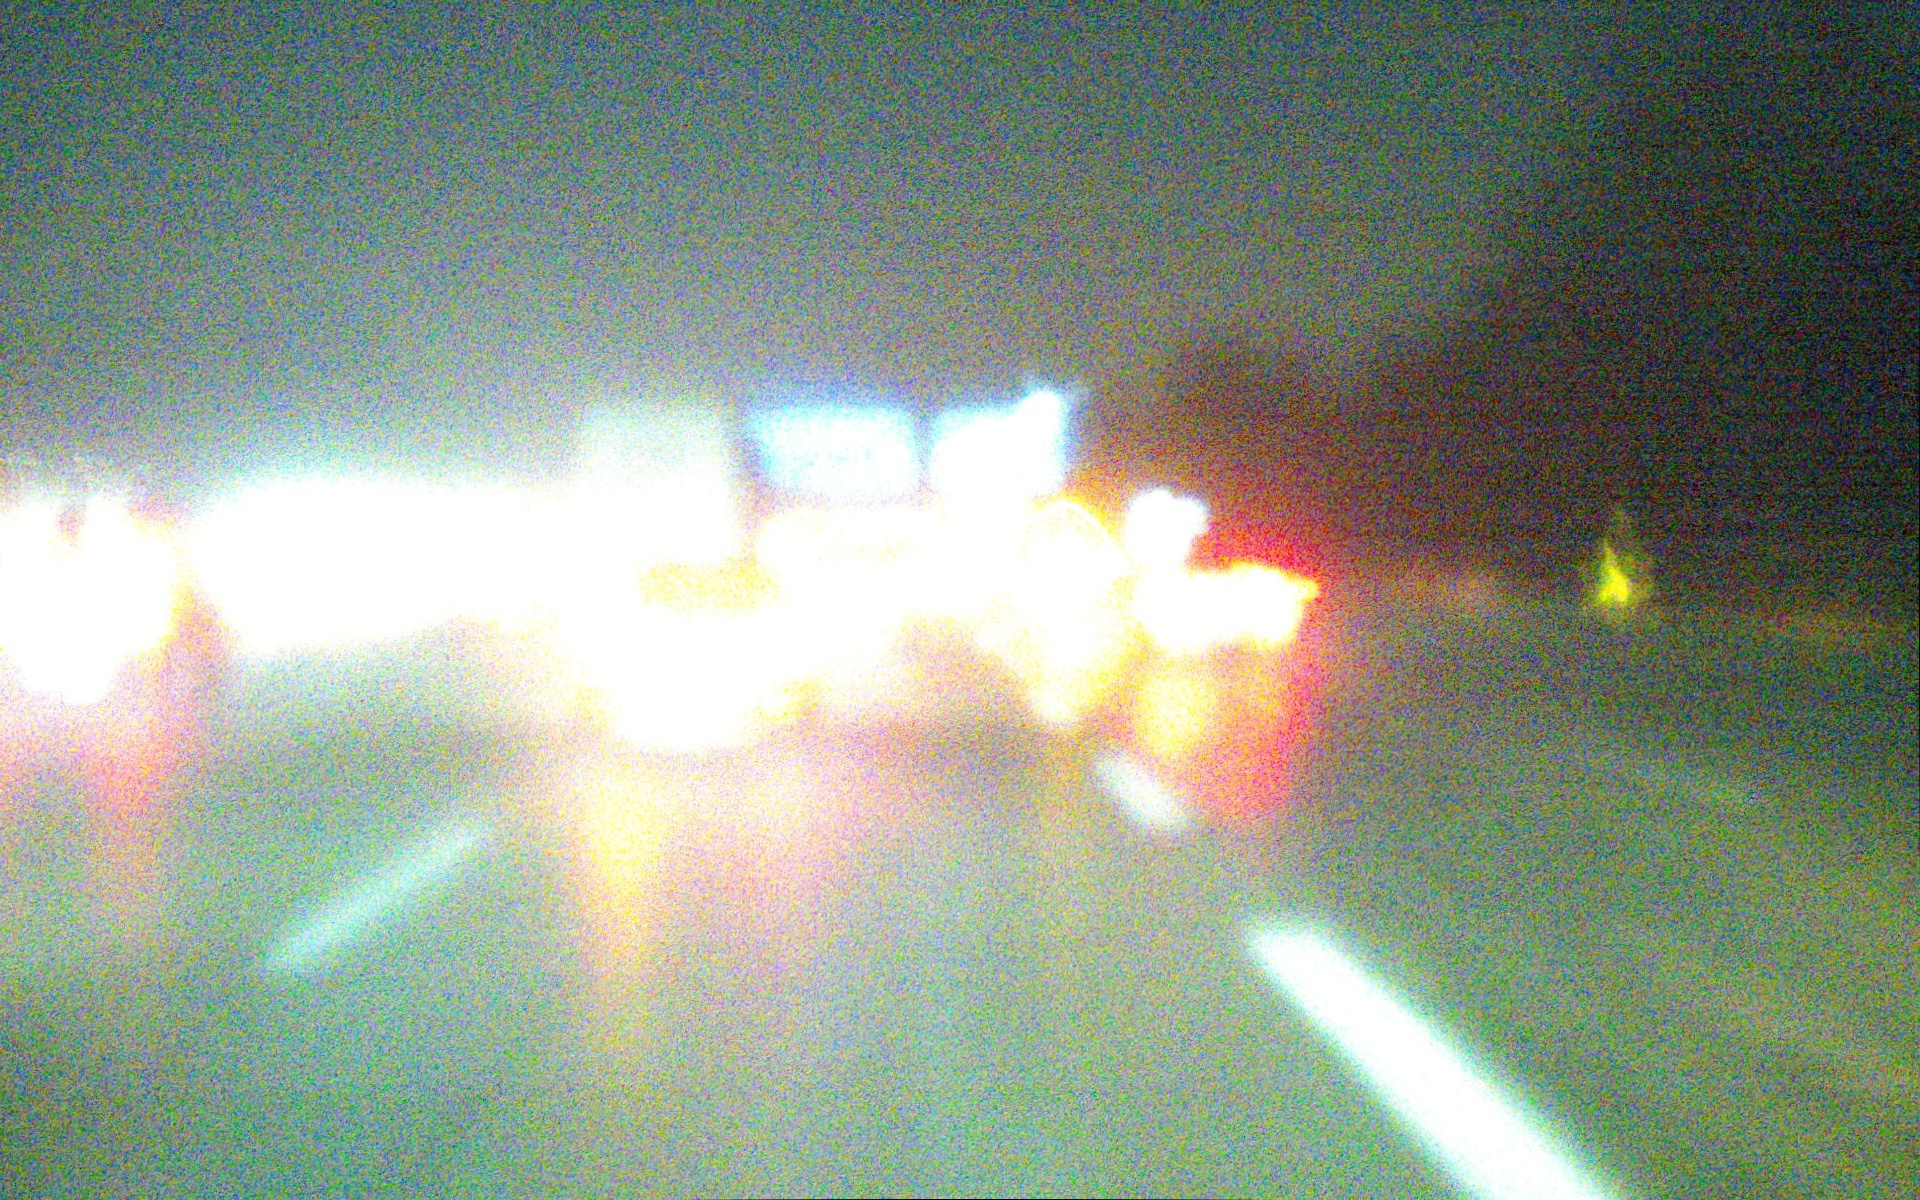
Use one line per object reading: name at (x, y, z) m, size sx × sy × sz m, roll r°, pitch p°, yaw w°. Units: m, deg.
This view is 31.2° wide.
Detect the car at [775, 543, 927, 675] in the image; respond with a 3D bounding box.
car at (-1.506, 0.110, 48.819) m, size 2.039 × 1.755 × 4.516 m, roll 1°, pitch 0°, yaw -1°

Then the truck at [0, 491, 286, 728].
truck at (-8.758, 0.061, 35.171) m, size 2.857 × 2.193 × 5.859 m, roll 1°, pitch 0°, yaw -3°

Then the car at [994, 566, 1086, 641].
car at (1.845, 0.061, 80.861) m, size 1.993 × 1.698 × 4.458 m, roll 1°, pitch 0°, yaw 0°

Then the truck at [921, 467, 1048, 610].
truck at (0.851, -2.303, 131.619) m, size 4.161 × 5.197 × 9.955 m, roll 1°, pitch 0°, yaw -3°

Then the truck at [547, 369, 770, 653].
truck at (-5.479, -1.531, 62.833) m, size 3.655 × 4.721 × 9.854 m, roll 1°, pitch 0°, yaw -5°

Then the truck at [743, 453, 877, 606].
truck at (-5.525, -2.574, 128.982) m, size 4.254 × 5.425 × 10.884 m, roll 1°, pitch 0°, yaw 1°

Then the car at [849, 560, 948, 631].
car at (-1.811, -0.149, 102.929) m, size 2.833 × 2.007 × 5.510 m, roll 1°, pitch 0°, yaw 0°

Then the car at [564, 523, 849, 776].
car at (-1.765, 0.290, 25.042) m, size 1.765 × 1.683 × 4.000 m, roll 1°, pitch 1°, yaw 0°

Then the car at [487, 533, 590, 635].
car at (-9.801, -0.383, 79.931) m, size 2.263 × 2.265 × 5.387 m, roll 1°, pitch 0°, yaw -7°

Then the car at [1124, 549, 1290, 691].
car at (3.213, 0.241, 45.349) m, size 1.878 × 1.756 × 4.000 m, roll 1°, pitch 0°, yaw 0°
